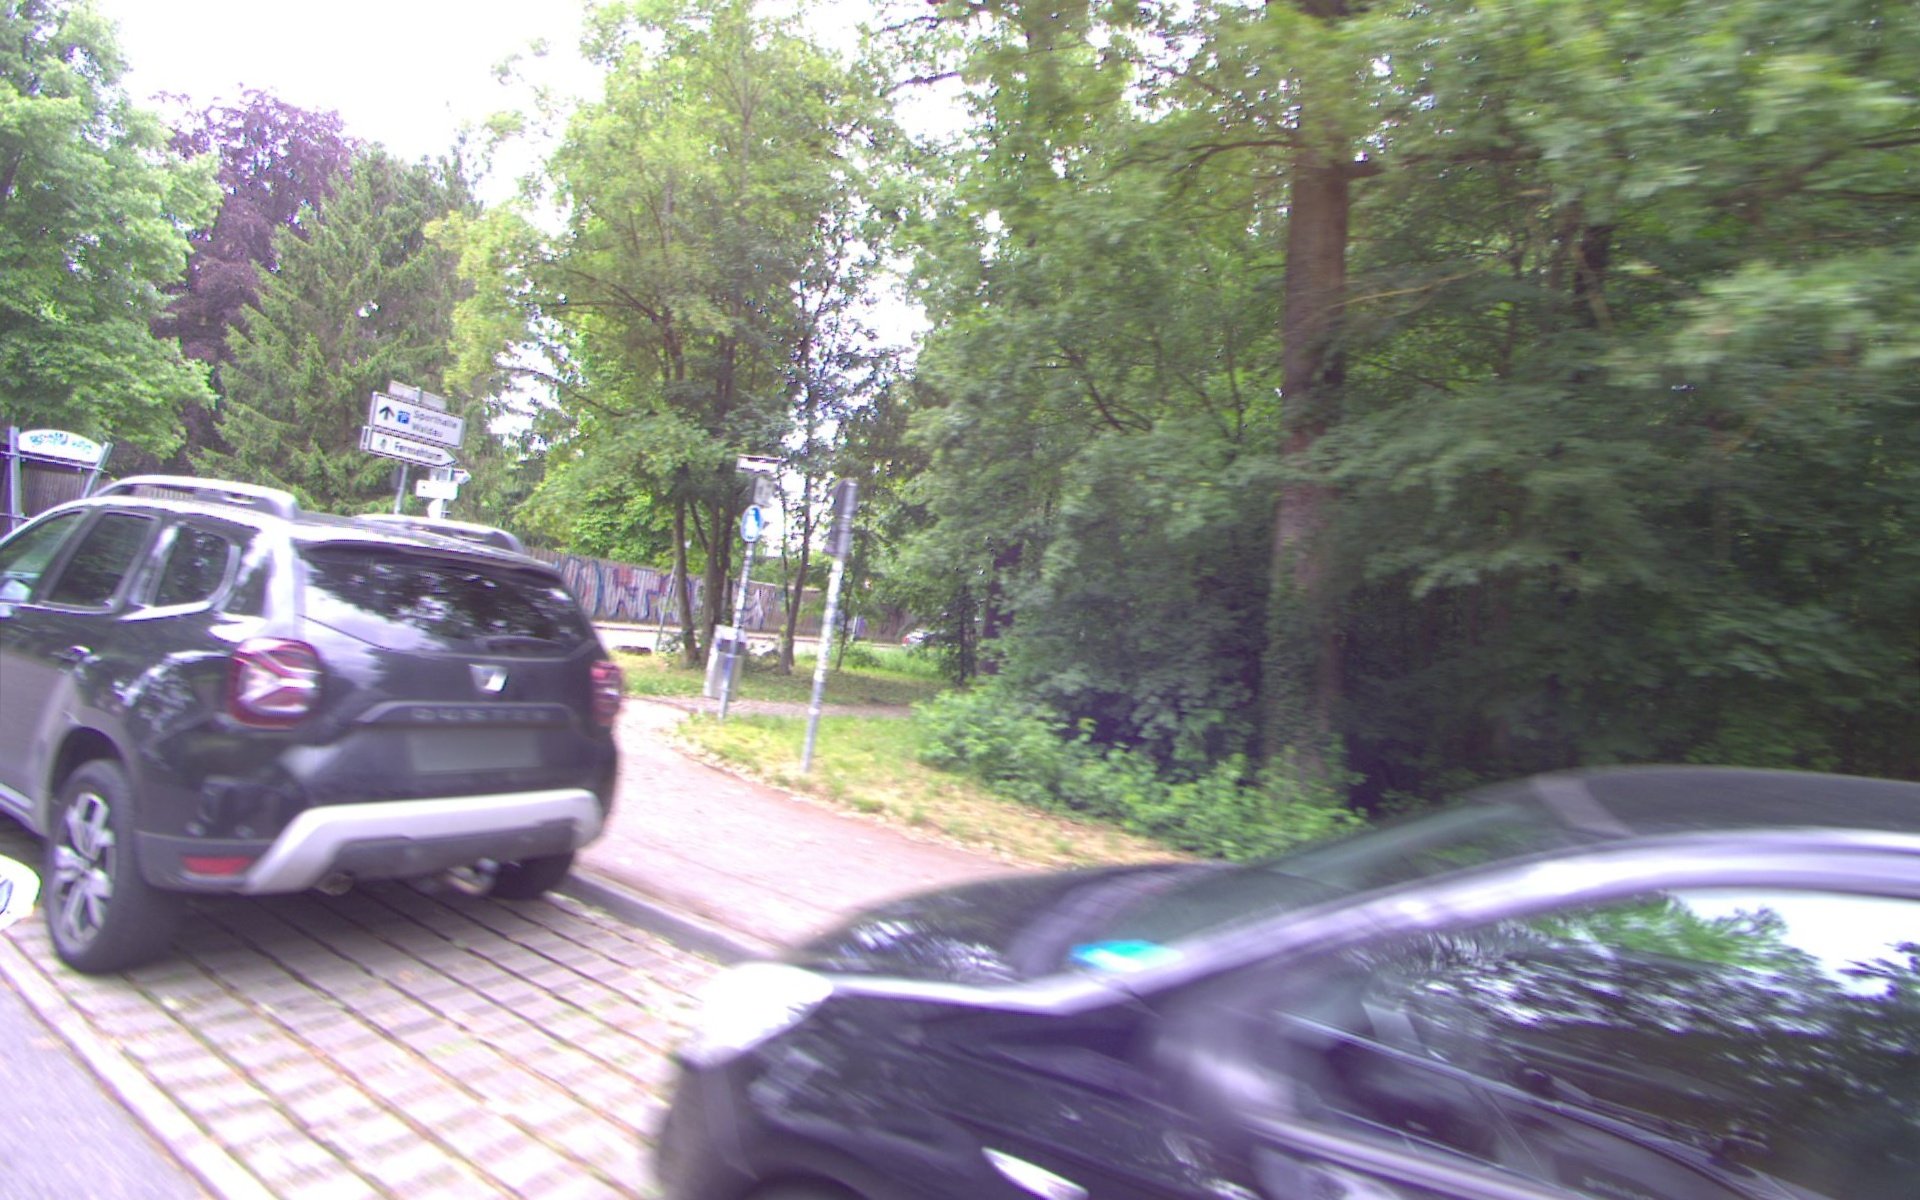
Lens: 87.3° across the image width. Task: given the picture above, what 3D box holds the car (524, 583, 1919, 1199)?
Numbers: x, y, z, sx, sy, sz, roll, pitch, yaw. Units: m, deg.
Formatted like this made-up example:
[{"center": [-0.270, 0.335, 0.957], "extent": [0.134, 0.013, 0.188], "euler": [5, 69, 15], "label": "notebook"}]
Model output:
[{"center": [1.422, 1.018, 1.598], "extent": [4.163, 1.512, 1.740], "euler": [7, -2, 31], "label": "car"}]

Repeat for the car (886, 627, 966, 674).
[{"center": [-1.405, 2.242, 43.608], "extent": [1.879, 1.524, 4.004], "euler": [11, -1, 21], "label": "car"}]

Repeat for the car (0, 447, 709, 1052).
[{"center": [-3.444, 0.314, 4.677], "extent": [4.302, 1.652, 1.740], "euler": [7, -2, 31], "label": "car"}]

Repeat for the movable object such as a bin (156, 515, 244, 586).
[{"center": [-17.806, -1.134, 23.617], "extent": [1.062, 1.459, 1.283], "euler": [8, -2, -13], "label": "movable object such as a bin"}]
